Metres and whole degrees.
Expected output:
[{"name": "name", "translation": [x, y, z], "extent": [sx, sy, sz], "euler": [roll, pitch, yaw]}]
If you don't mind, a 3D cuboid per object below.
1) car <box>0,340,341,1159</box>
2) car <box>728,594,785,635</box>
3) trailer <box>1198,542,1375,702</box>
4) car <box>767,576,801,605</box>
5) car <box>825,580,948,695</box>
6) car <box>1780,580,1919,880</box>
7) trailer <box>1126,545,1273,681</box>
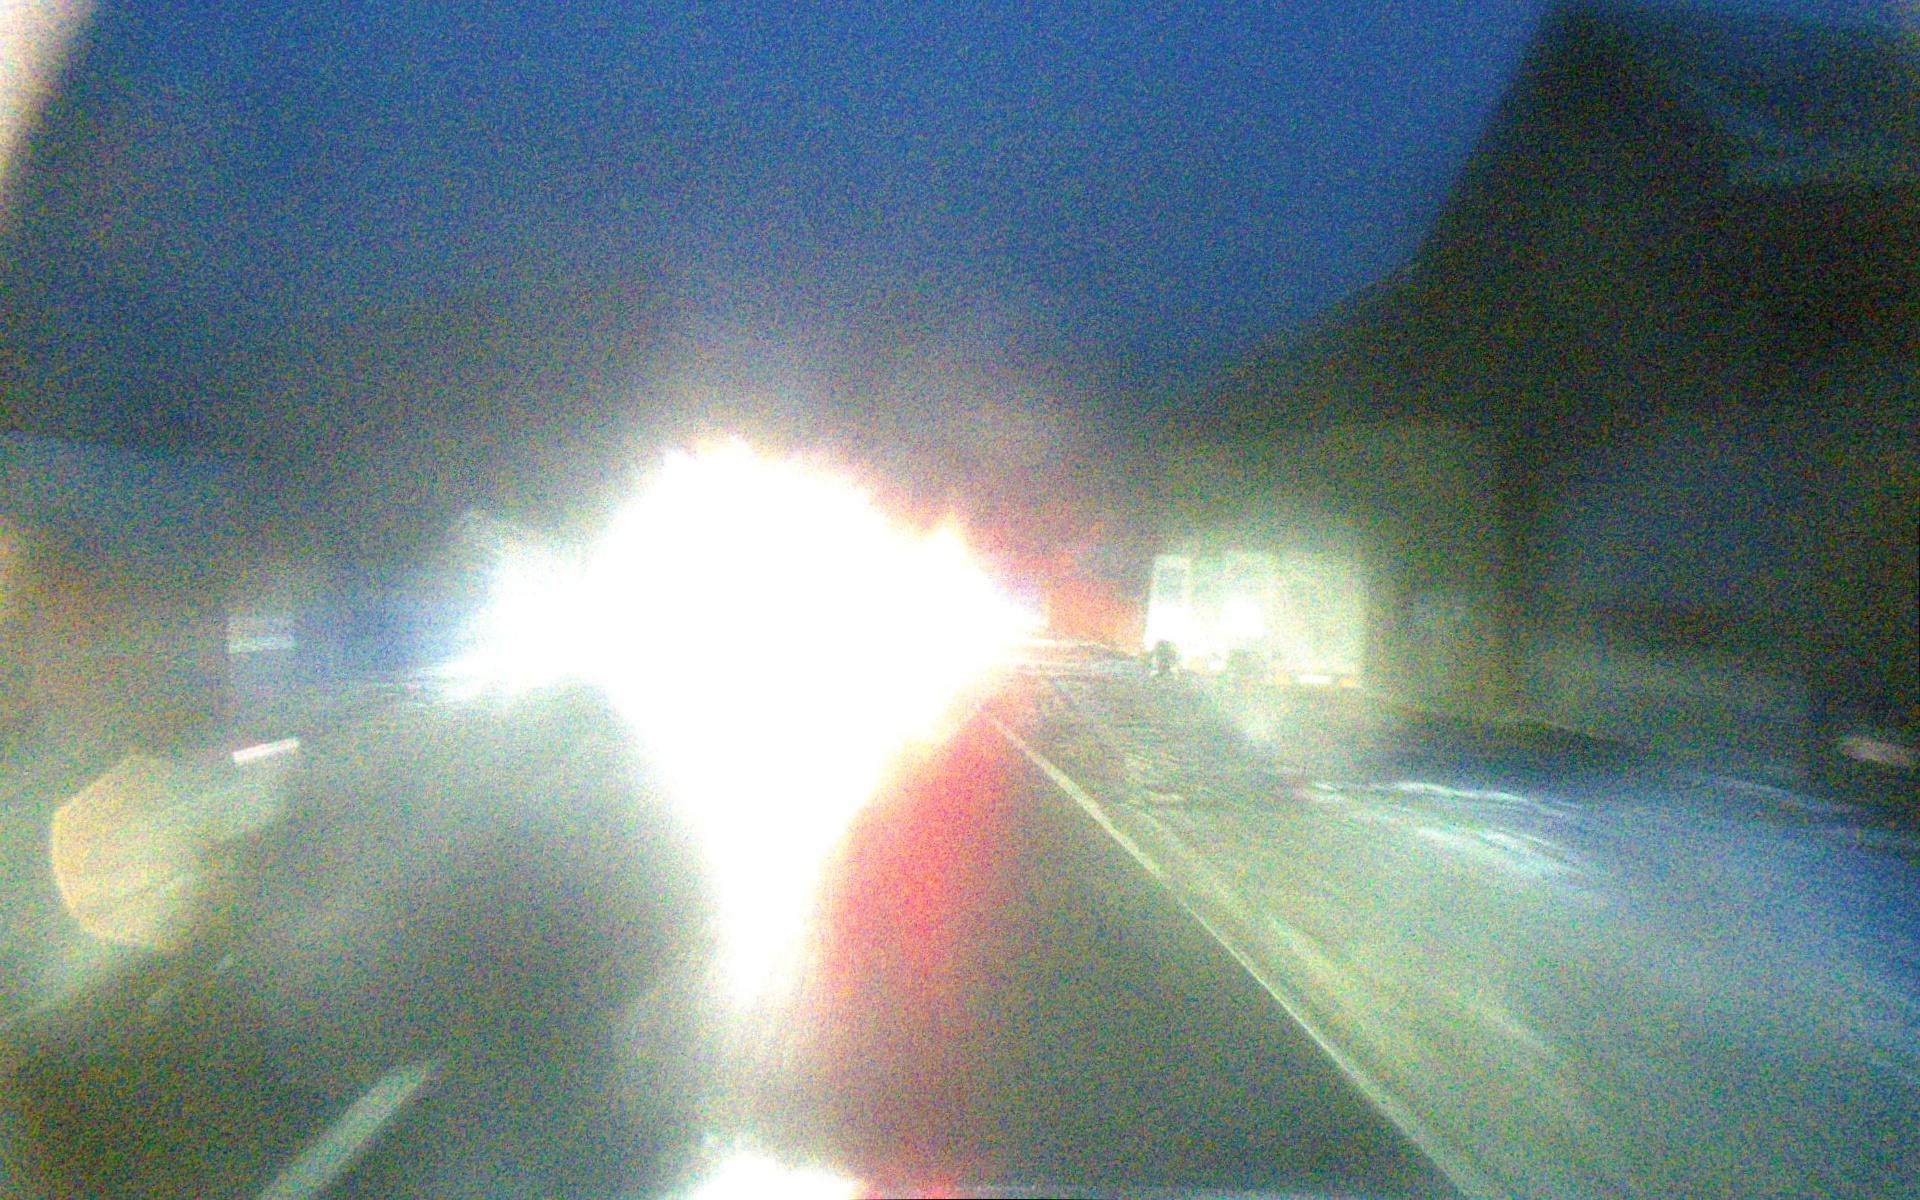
[{"name": "car", "translation": [-3.383, 0.368, 4.245], "extent": [1.880, 2.093, 4.885], "euler": [1, 0, -2]}, {"name": "car", "translation": [-7.755, 0.519, 63.286], "extent": [1.954, 1.485, 4.893], "euler": [1, 0, -5]}, {"name": "trailer", "translation": [5.428, 0.325, 28.054], "extent": [1.575, 2.393, 4.425], "euler": [4, 0, -6]}, {"name": "car", "translation": [-9.978, -0.534, 94.131], "extent": [1.766, 1.535, 3.611], "euler": [2, 0, -5]}, {"name": "car", "translation": [-1.253, 0.545, 26.615], "extent": [1.766, 1.657, 3.611], "euler": [2, 0, -5]}, {"name": "car", "translation": [7.694, 0.950, 10.933], "extent": [1.843, 2.075, 4.382], "euler": [3, 0, -9]}, {"name": "trailer", "translation": [4.666, 0.218, 32.851], "extent": [1.599, 2.405, 4.646], "euler": [4, 0, -7]}]
